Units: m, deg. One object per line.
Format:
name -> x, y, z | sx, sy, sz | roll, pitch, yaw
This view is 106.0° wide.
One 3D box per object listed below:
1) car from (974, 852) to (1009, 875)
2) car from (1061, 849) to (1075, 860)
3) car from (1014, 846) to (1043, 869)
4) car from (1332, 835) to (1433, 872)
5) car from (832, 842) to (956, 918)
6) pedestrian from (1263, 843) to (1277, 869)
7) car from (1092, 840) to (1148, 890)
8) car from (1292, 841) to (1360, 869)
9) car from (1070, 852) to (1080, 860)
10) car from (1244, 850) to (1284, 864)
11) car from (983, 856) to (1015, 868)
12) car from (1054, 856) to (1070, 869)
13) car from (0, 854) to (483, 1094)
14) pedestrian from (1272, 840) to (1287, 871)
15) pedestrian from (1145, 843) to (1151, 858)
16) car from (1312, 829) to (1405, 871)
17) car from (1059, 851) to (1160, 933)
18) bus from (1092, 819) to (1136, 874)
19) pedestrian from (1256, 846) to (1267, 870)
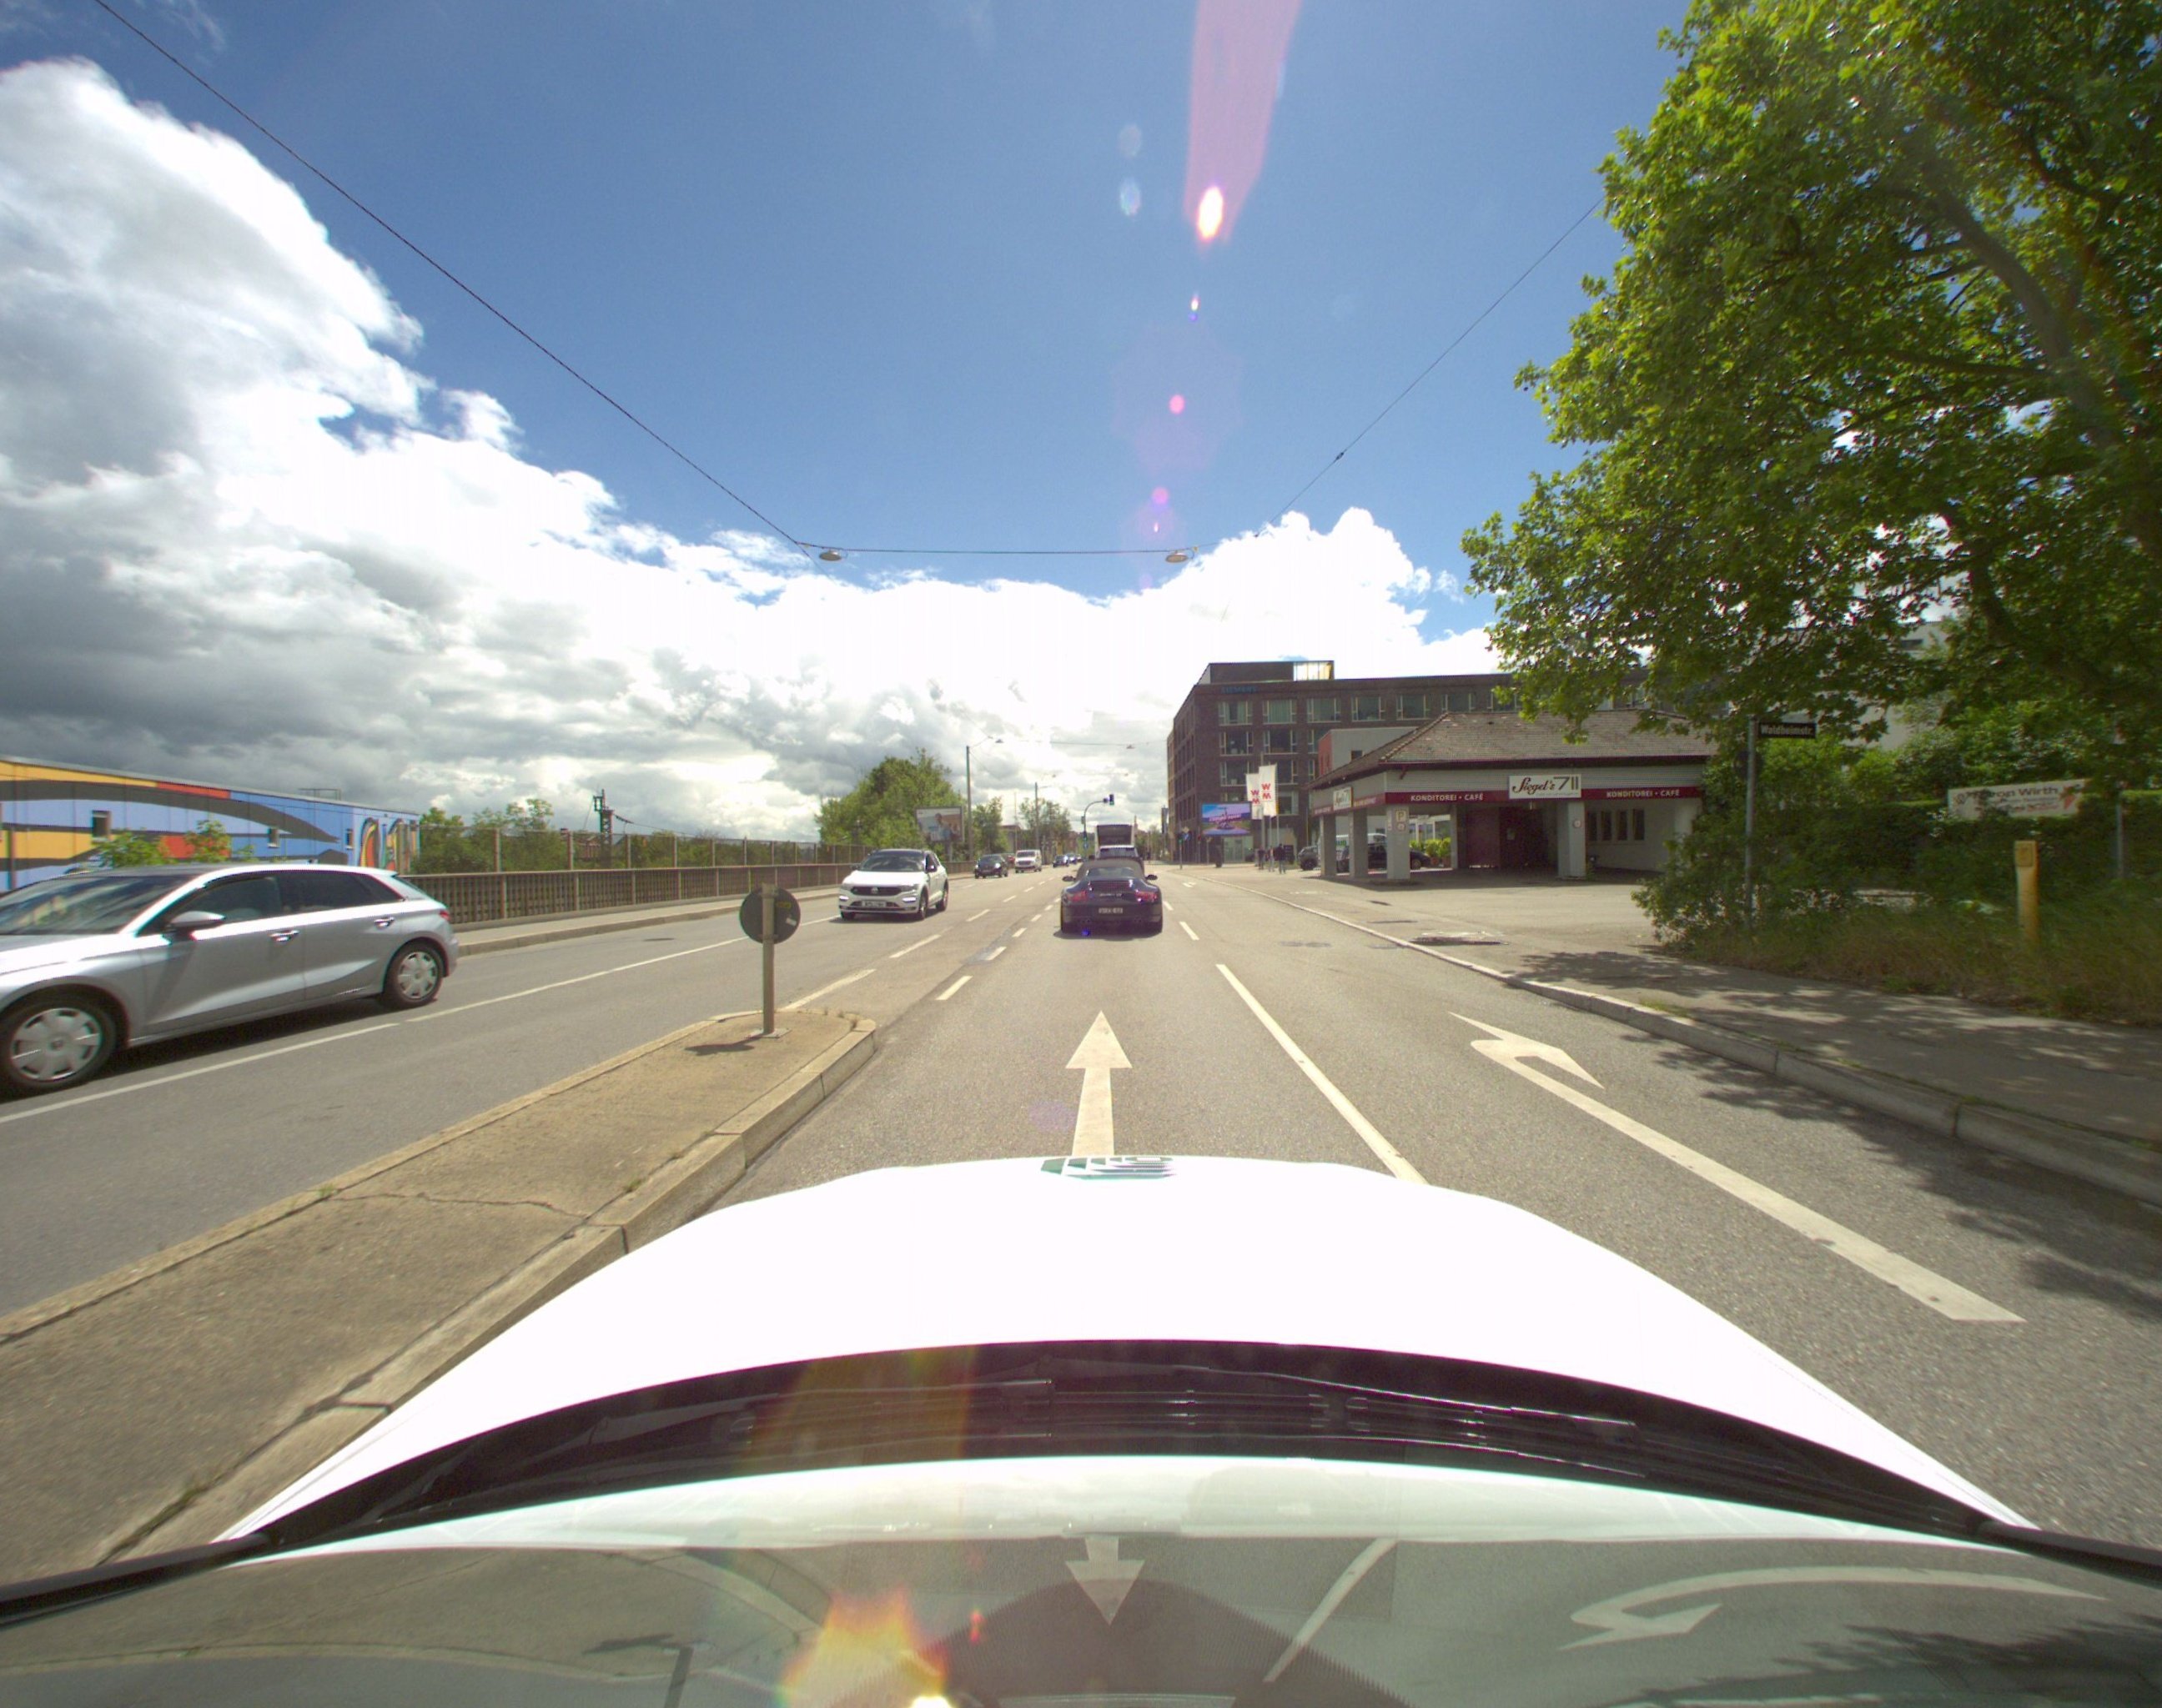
car -> -5.682, 0.581, 52.080 | 1.622, 1.430, 4.002 | -1, 0, 2
car -> -1.855, 0.123, 116.837 | 1.656, 1.547, 3.805 | -1, 0, 3
car -> -4.589, 0.314, 71.494 | 1.894, 1.887, 5.315 | -3, 0, 2
car -> 14.790, -0.023, 40.124 | 4.283, 1.513, 1.847 | -4, -1, 2
car -> -4.212, 0.536, 19.037 | 1.803, 1.560, 4.208 | 0, 0, 1
pedestrian -> 12.642, 0.139, 54.547 | 0.705, 1.696, 0.924 | -1, 0, -1
car -> 1.354, 0.346, 29.738 | 1.873, 1.593, 4.230 | 0, 2, 0
car -> 15.381, 0.084, 51.224 | 3.744, 1.440, 1.720 | -5, 0, 3
car -> -1.133, 0.383, 152.098 | 1.656, 1.415, 3.805 | -1, 0, 3
car -> 19.344, 0.310, 85.967 | 3.914, 1.431, 1.474 | -1, 0, 2
car -> -9.269, 0.850, 91.738 | 3.509, 1.264, 1.386 | -1, 0, -8
car -> -2.251, 1.022, 97.136 | 1.656, 1.415, 3.805 | -1, 0, 3
car -> -7.099, 0.728, 6.358 | 1.630, 1.363, 4.196 | -1, 0, 2
pedestrian -> 10.998, 0.081, 45.164 | 0.673, 1.696, 0.602 | -1, 0, 27
pedestrian -> 9.084, -0.434, 110.171 | 0.664, 2.013, 0.769 | -1, 0, 0
car -> 14.641, -0.196, 43.166 | 4.213, 1.936, 2.031 | -4, 0, 3
car -> 0.554, 0.644, 15.974 | 1.713, 1.275, 4.090 | 0, 2, 2
bus -> 2.381, -0.732, 56.957 | 2.678, 3.254, 12.071 | 1, 3, 3
pedestrian -> 13.085, 0.290, 59.057 | 0.668, 1.661, 0.742 | -1, 0, 1
